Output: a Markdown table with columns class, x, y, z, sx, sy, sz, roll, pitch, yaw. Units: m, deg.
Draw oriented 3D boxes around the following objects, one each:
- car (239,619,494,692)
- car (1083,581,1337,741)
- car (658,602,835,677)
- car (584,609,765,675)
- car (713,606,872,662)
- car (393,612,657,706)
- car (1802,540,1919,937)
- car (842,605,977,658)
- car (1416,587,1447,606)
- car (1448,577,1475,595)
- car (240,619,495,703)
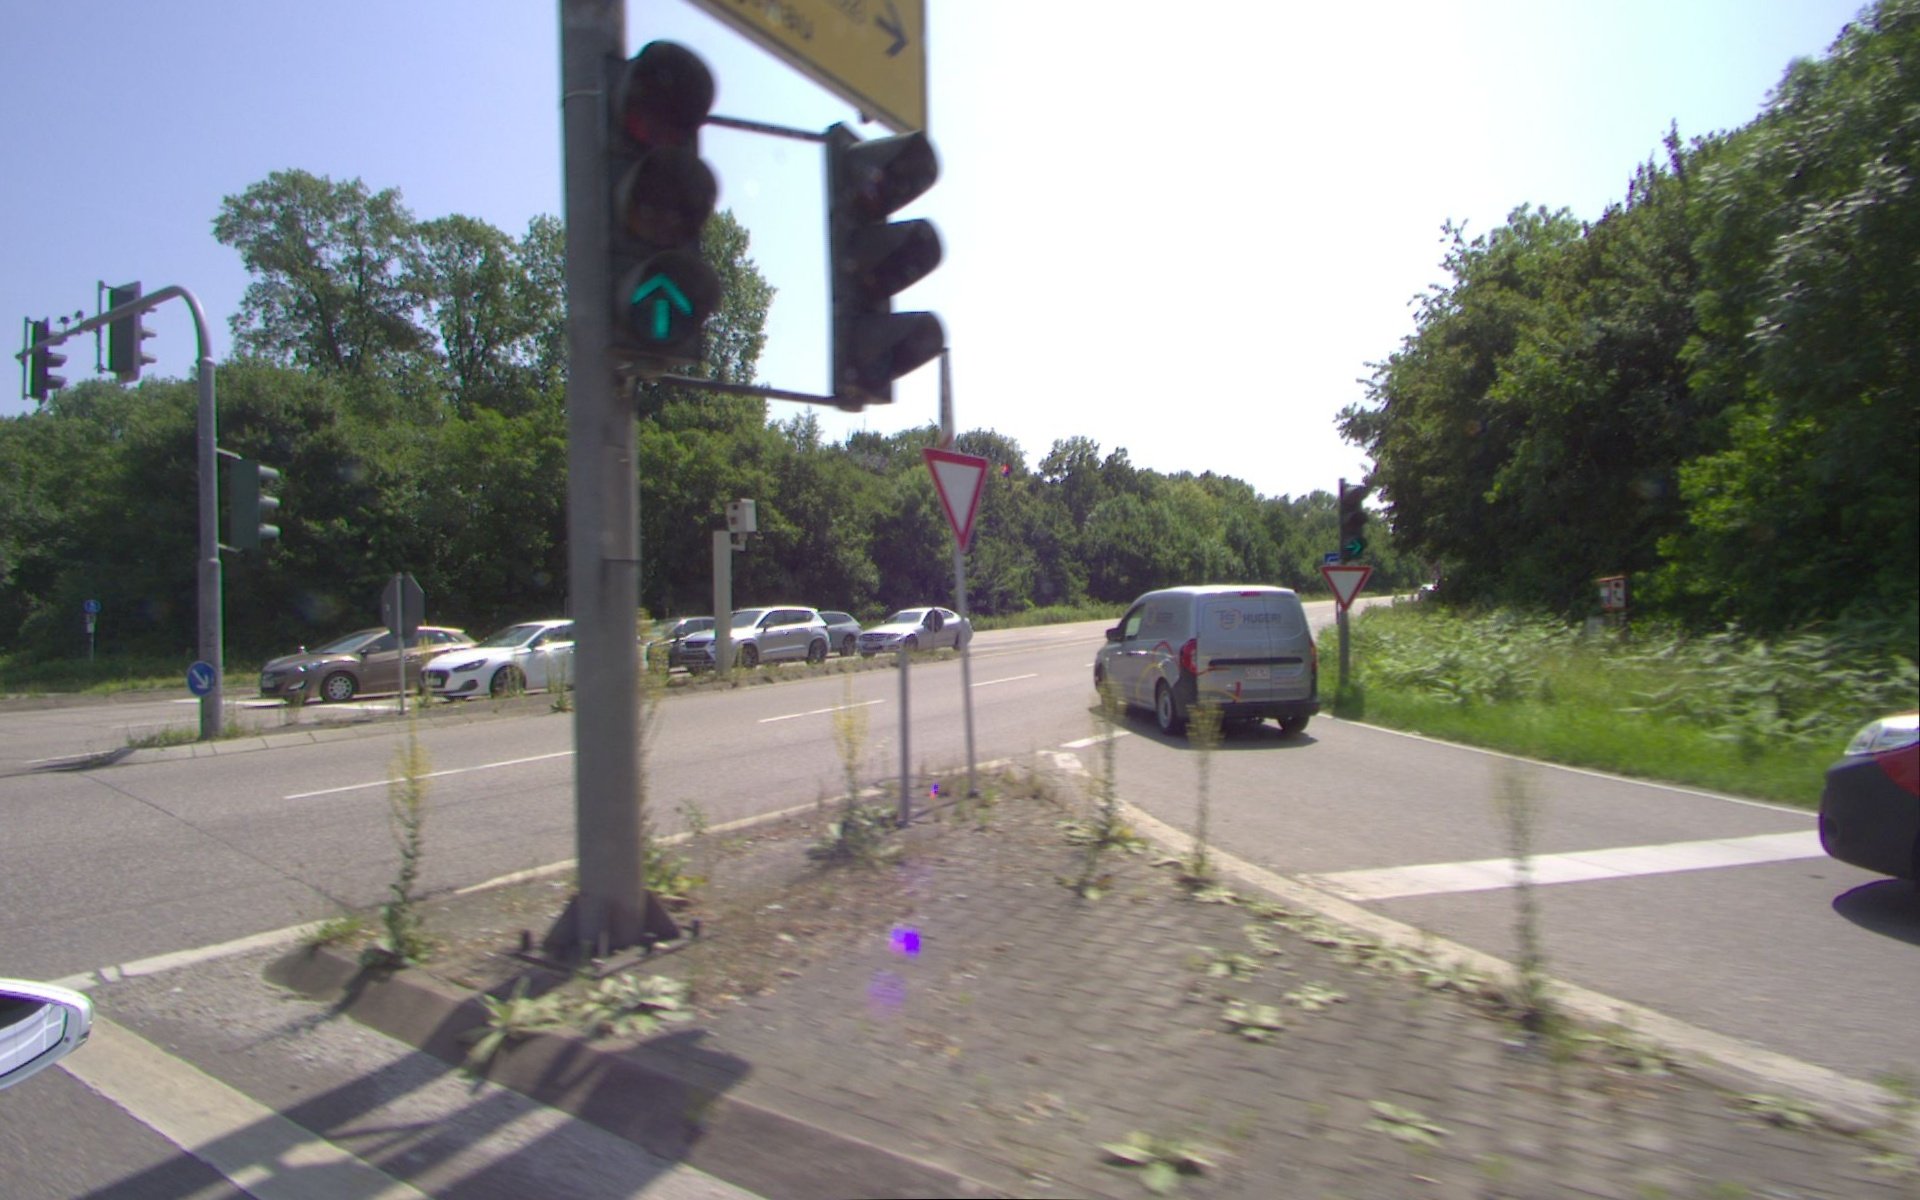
| class | x | y | z | sx | sy | sz | roll | pitch | yaw |
| --- | --- | --- | --- | --- | --- | --- | --- | --- | --- |
| car | -14.081 | 1.260 | 24.087 | 1.992 | 1.518 | 4.921 | -2 | -1 | 33 |
| car | 3.110 | 0.730 | 13.399 | 1.729 | 1.796 | 4.110 | 0 | -1 | -11 |
| car | -5.206 | 0.909 | 24.932 | 1.972 | 1.681 | 4.163 | -1 | 0 | 32 |
| car | -7.544 | 1.074 | 26.890 | 2.092 | 1.555 | 4.410 | -2 | -1 | 32 |
| car | -5.203 | 1.025 | 31.926 | 2.108 | 1.554 | 5.117 | -2 | 0 | 32 |
| car | -8.324 | 1.050 | 19.581 | 1.971 | 1.555 | 4.412 | -1 | 0 | 31 |
| car | 6.174 | 0.616 | 3.628 | 1.773 | 1.846 | 4.470 | 1 | -2 | -32 |
| car | -1.471 | 0.927 | 30.616 | 1.946 | 1.433 | 4.320 | -2 | 0 | 33 |
| car | 40.469 | -0.309 | 85.968 | 1.821 | 1.518 | 4.437 | -1 | 0 | 33 |
| car | 49.592 | -1.371 | 98.989 | 1.821 | 1.774 | 4.437 | -1 | 0 | 33 |
| car | -12.063 | 1.167 | 20.656 | 1.966 | 1.466 | 4.085 | -1 | 0 | 30 |
